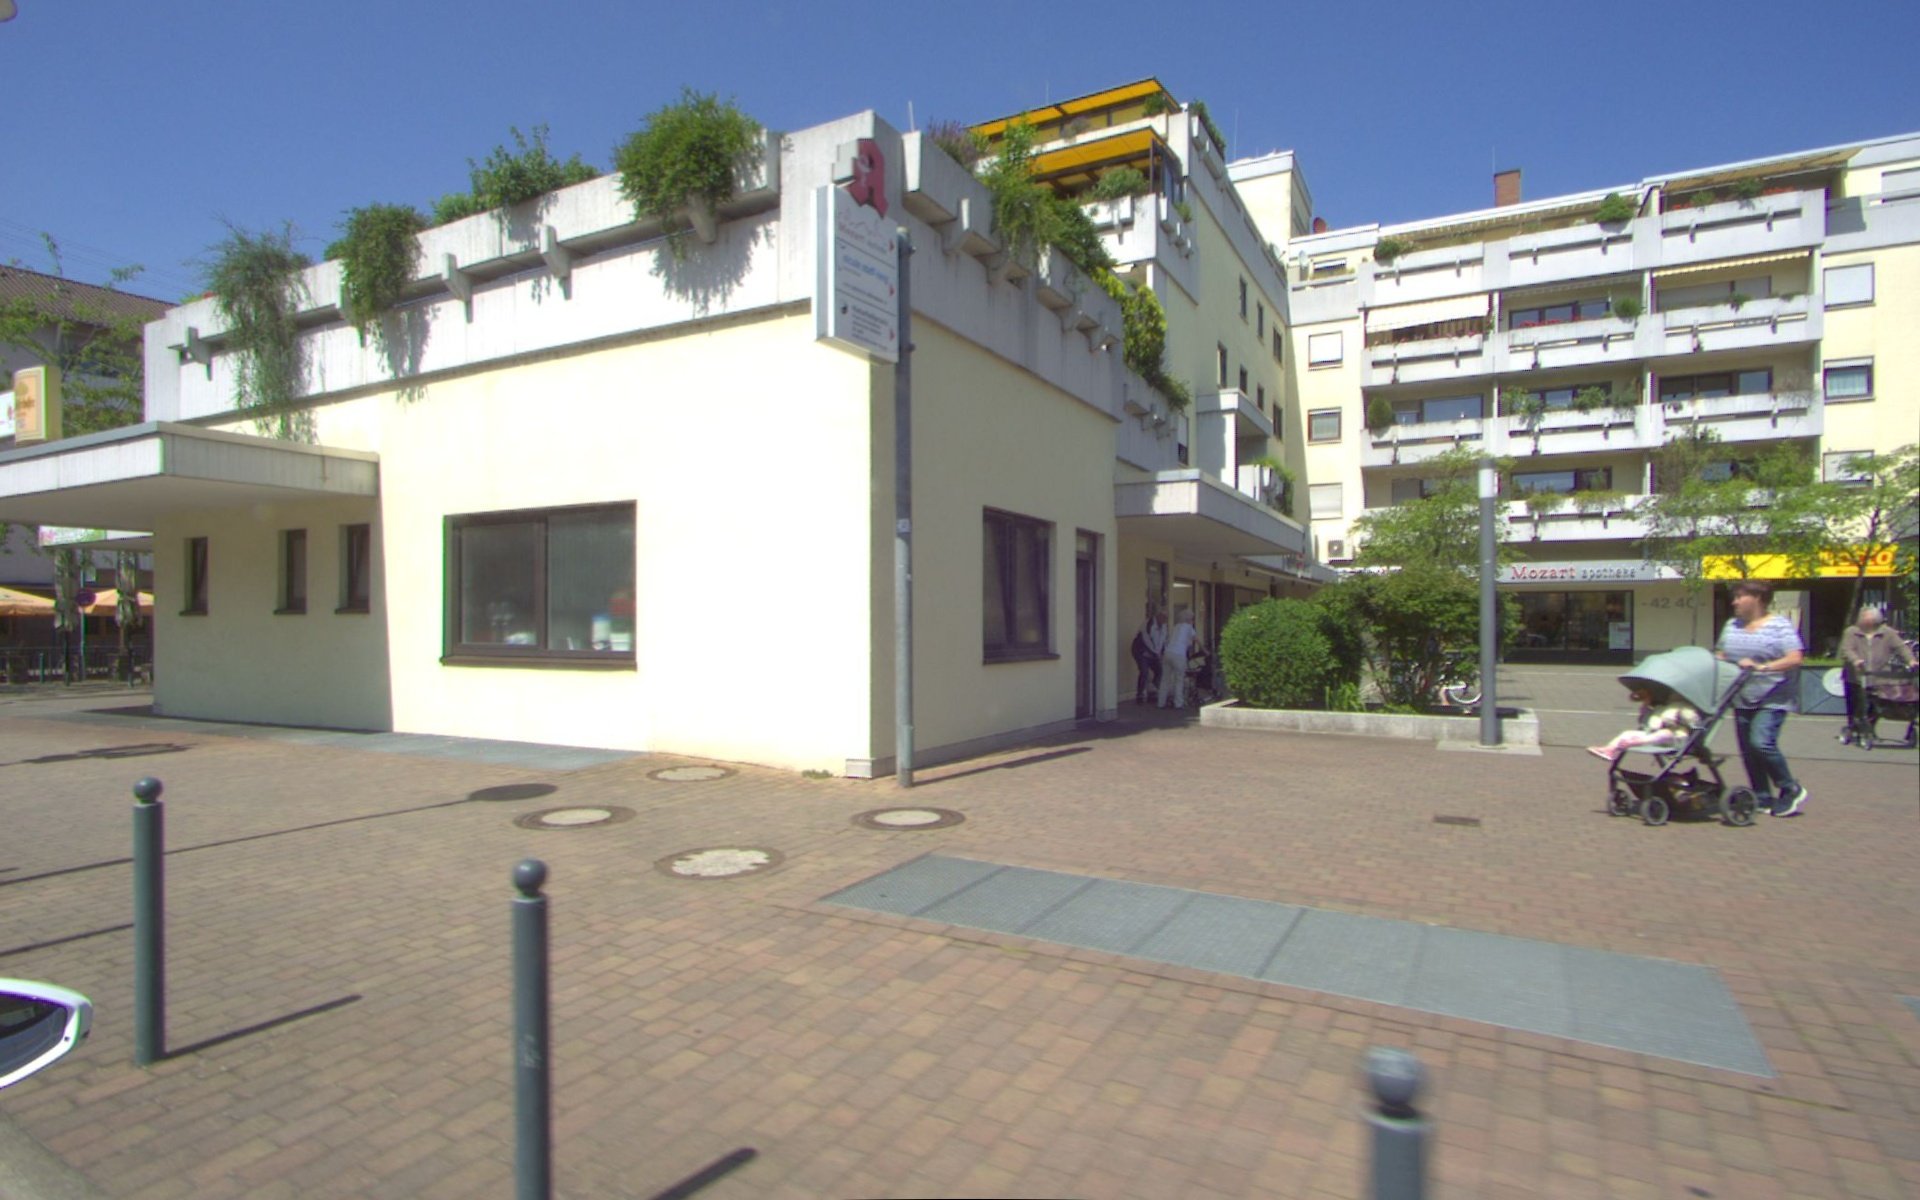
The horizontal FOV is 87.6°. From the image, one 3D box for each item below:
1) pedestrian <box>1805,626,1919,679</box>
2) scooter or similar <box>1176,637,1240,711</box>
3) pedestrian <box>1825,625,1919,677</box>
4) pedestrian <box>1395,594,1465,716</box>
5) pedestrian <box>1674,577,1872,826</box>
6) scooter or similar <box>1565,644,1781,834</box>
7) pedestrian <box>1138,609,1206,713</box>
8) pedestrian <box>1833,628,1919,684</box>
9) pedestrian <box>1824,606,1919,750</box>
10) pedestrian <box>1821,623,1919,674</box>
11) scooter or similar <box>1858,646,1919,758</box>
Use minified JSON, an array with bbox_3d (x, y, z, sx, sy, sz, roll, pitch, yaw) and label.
[{"bbox_3d":[22.891,1.290,24.877,2.729,1.290,0.984,-1,-1,24],"label":"pedestrian"},{"bbox_3d":[3.826,1.123,15.427,0.795,1.089,0.587,1,-1,-35],"label":"scooter or similar"},{"bbox_3d":[23.923,1.273,25.459,2.729,1.290,0.984,-1,-1,24],"label":"pedestrian"},{"bbox_3d":[6.988,0.804,14.921,0.887,1.759,0.702,0,0,22],"label":"pedestrian"},{"bbox_3d":[5.393,0.645,6.667,0.787,1.541,0.705,1,-1,-16],"label":"pedestrian"},{"bbox_3d":[4.571,0.854,6.448,1.025,1.121,0.627,0,-1,-15],"label":"scooter or similar"},{"bbox_3d":[3.168,0.894,14.987,0.801,1.516,0.615,0,-1,-35],"label":"pedestrian"},{"bbox_3d":[22.702,1.317,23.812,2.729,1.290,0.984,-1,-1,24],"label":"pedestrian"},{"bbox_3d":[10.051,0.832,10.993,0.658,1.516,0.809,0,-1,25],"label":"pedestrian"},{"bbox_3d":[24.401,1.253,26.155,2.729,1.290,0.984,-1,-1,24],"label":"pedestrian"},{"bbox_3d":[9.721,1.031,10.243,0.581,1.089,0.803,0,-1,25],"label":"scooter or similar"}]
